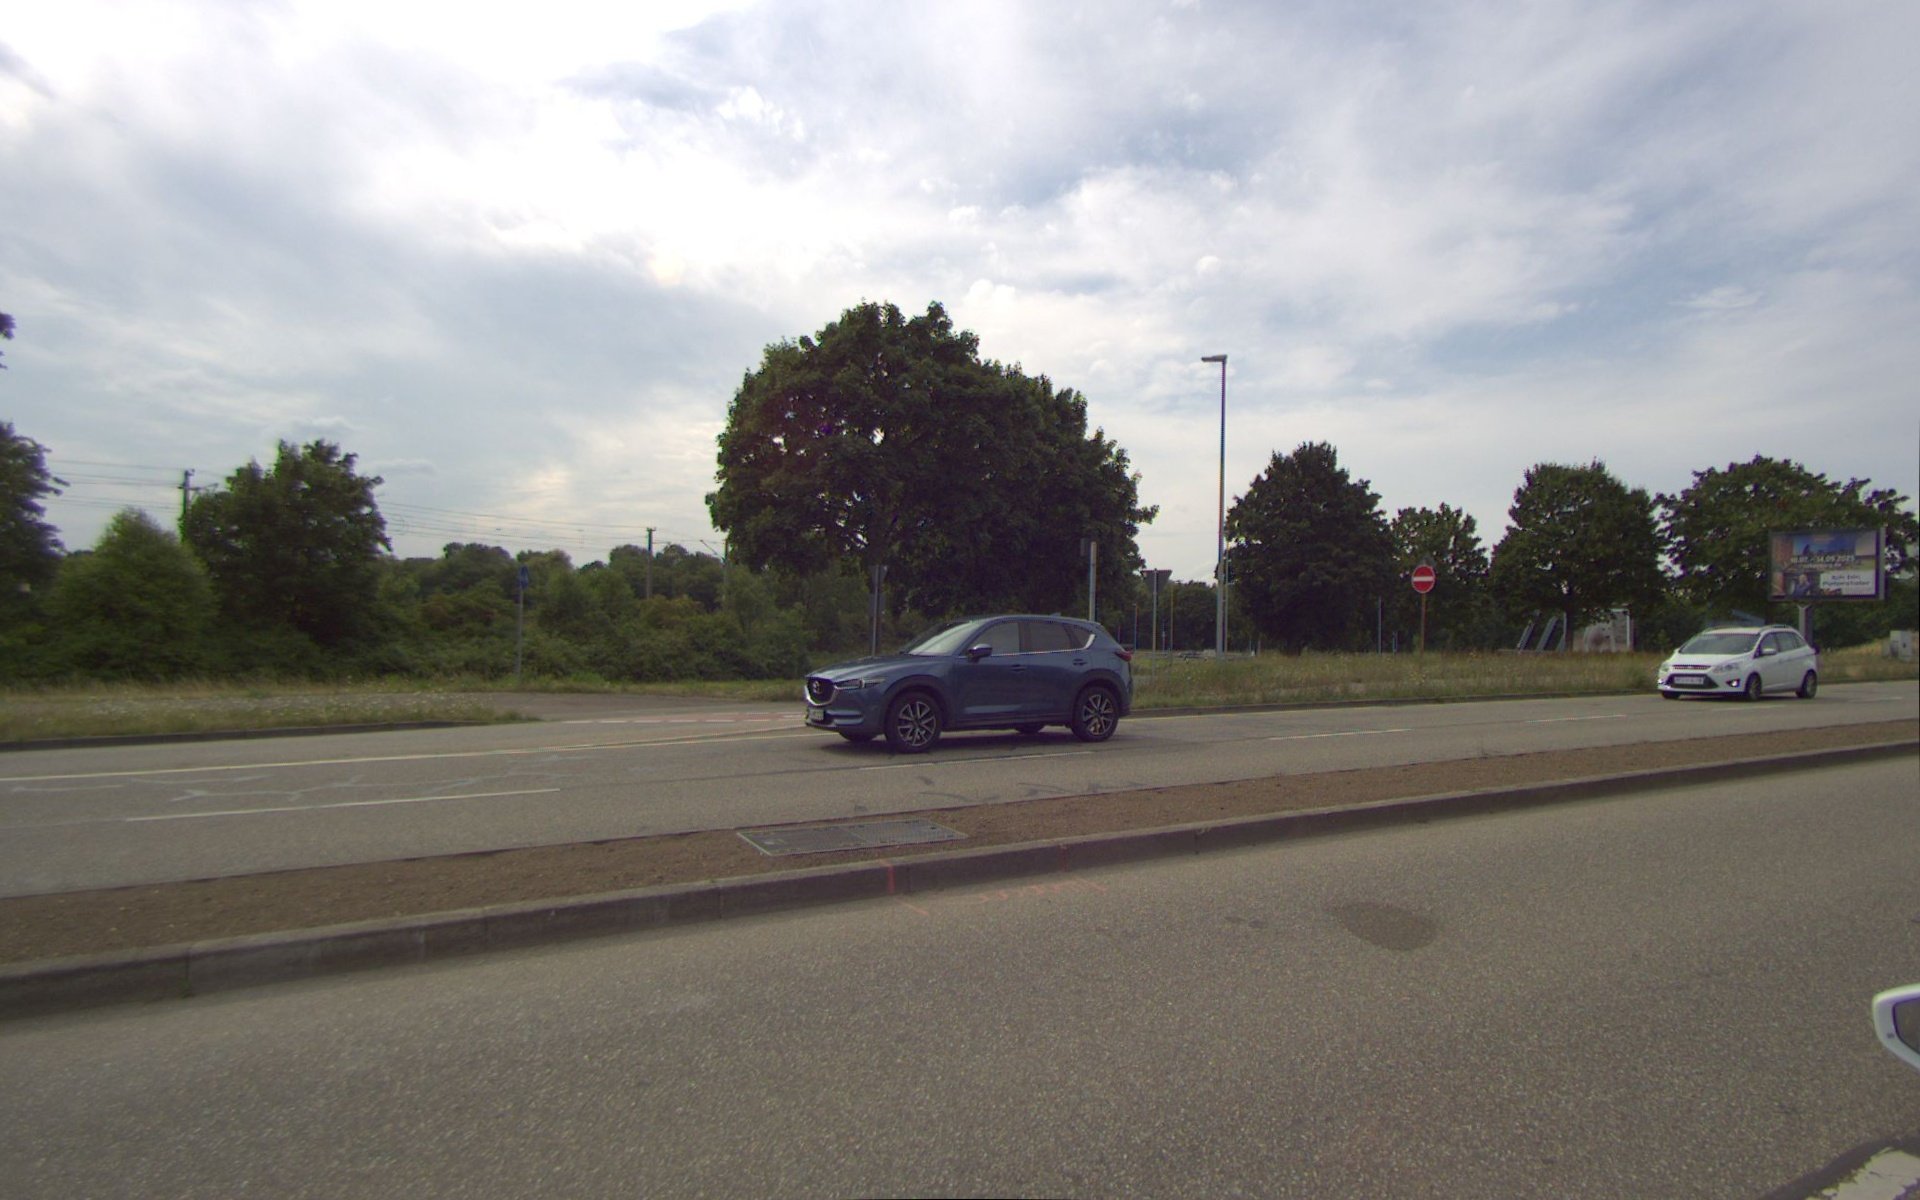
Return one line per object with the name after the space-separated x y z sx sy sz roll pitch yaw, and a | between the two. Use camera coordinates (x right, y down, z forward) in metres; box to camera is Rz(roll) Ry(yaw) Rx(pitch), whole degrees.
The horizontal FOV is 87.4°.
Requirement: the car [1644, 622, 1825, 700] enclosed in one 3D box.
18.129 1.384 23.457 4.584 1.675 1.760 1 -2 -30 | car

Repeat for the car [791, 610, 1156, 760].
0.245 1.025 13.168 4.511 1.675 1.838 1 -2 -30 | car
